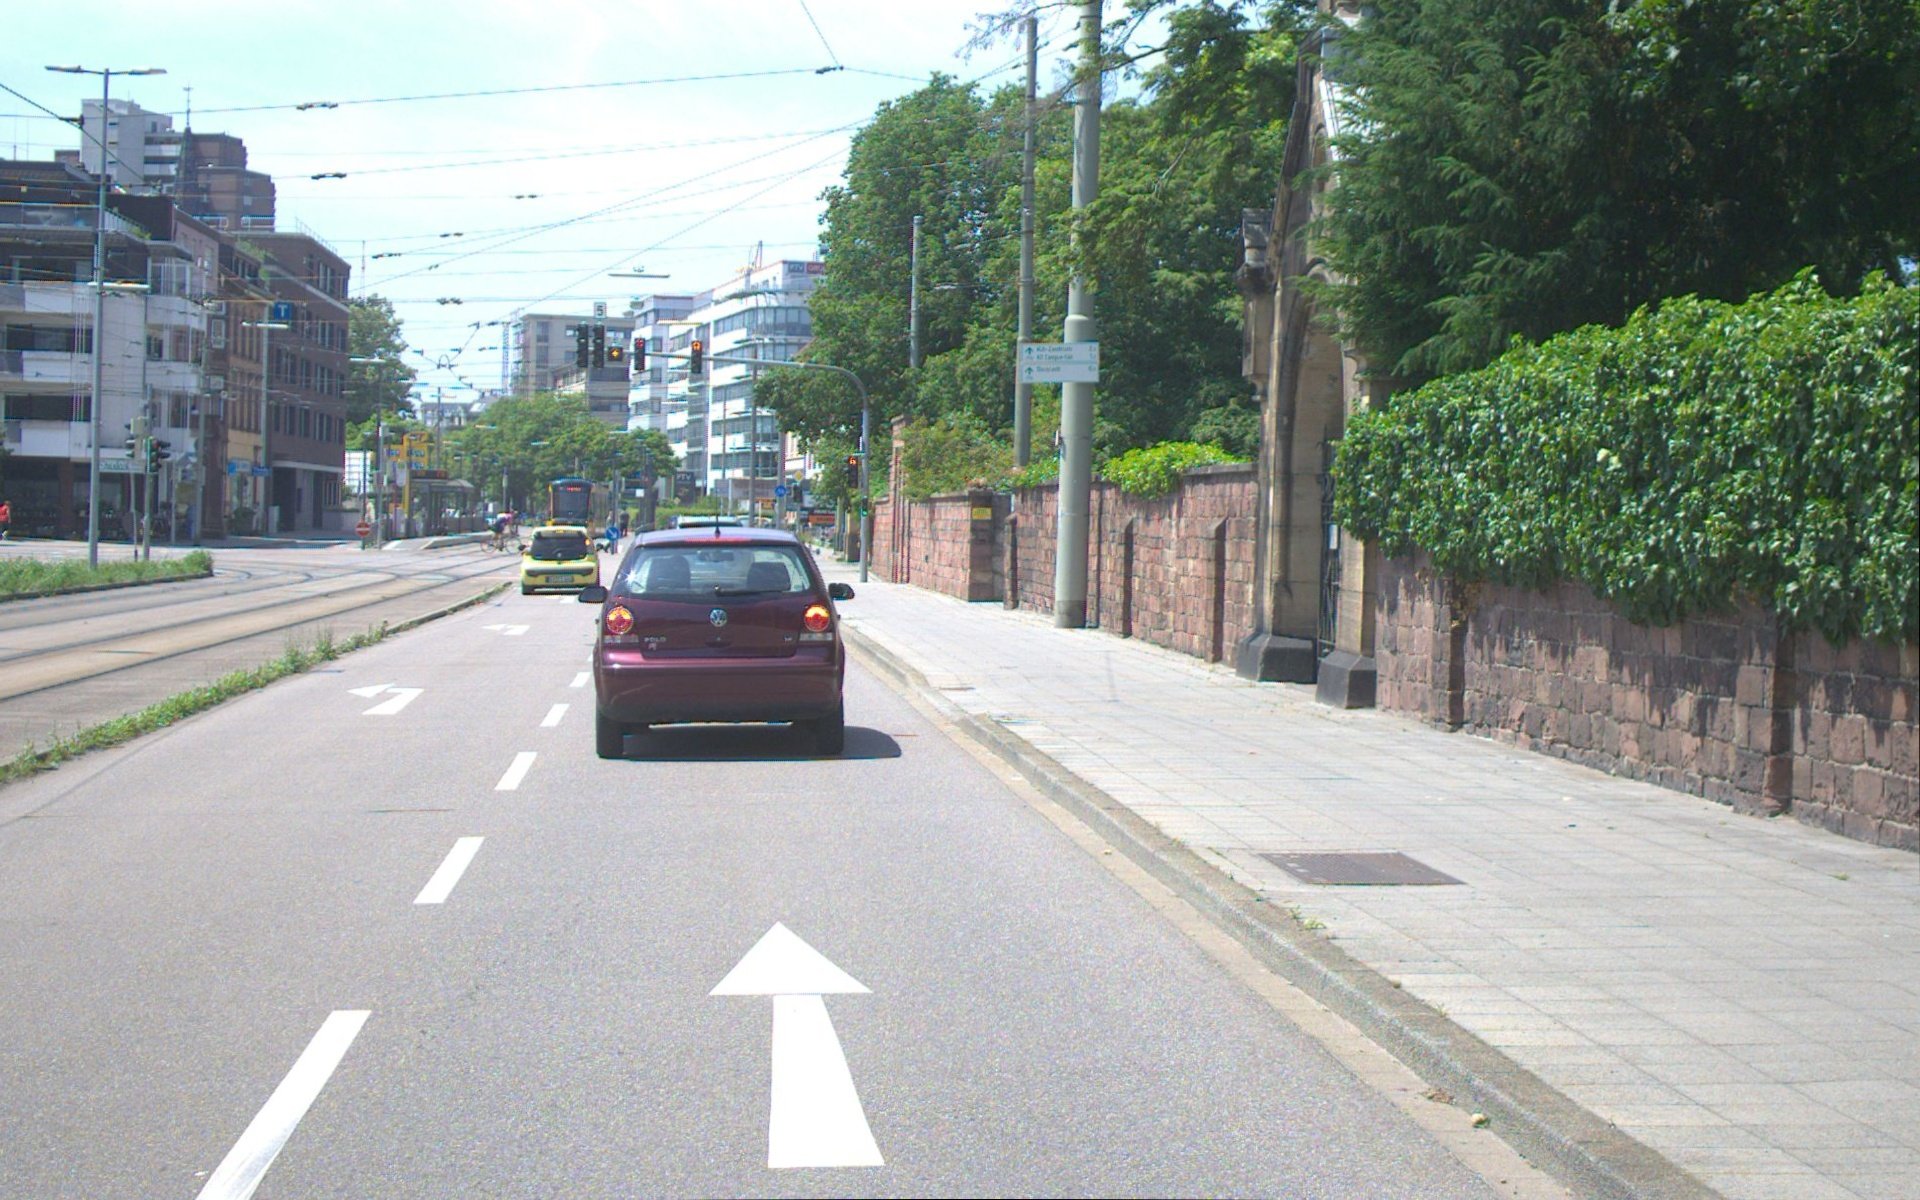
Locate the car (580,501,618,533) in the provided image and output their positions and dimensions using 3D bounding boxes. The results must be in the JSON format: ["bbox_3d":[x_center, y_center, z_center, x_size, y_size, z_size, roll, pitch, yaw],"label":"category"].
[{"bbox_3d":[-14.671,-3.377,139.847,1.353,1.248,2.973,3,1,-4],"label":"car"}]

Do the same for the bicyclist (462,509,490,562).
[{"bbox_3d":[-19.283,-2.580,136.881,0.956,2.084,0.853,1,1,-17],"label":"bicyclist"}]

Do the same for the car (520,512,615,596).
[{"bbox_3d":[-8.443,-1.010,74.165,1.795,1.677,4.001,3,1,-4],"label":"car"}]

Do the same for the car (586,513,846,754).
[{"bbox_3d":[-1.727,0.170,23.444,1.609,1.493,4.001,0,1,-6],"label":"car"}]

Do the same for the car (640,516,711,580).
[{"bbox_3d":[-7.863,-1.462,95.331,1.774,1.625,4.001,3,1,-3],"label":"car"}]

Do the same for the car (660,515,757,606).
[{"bbox_3d":[-4.993,-0.809,68.389,1.795,1.677,4.001,3,1,-4],"label":"car"}]

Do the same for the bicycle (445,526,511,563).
[{"bbox_3d":[-19.211,-2.215,136.913,2.508,1.414,0.638,1,1,-17],"label":"bicycle"}]
